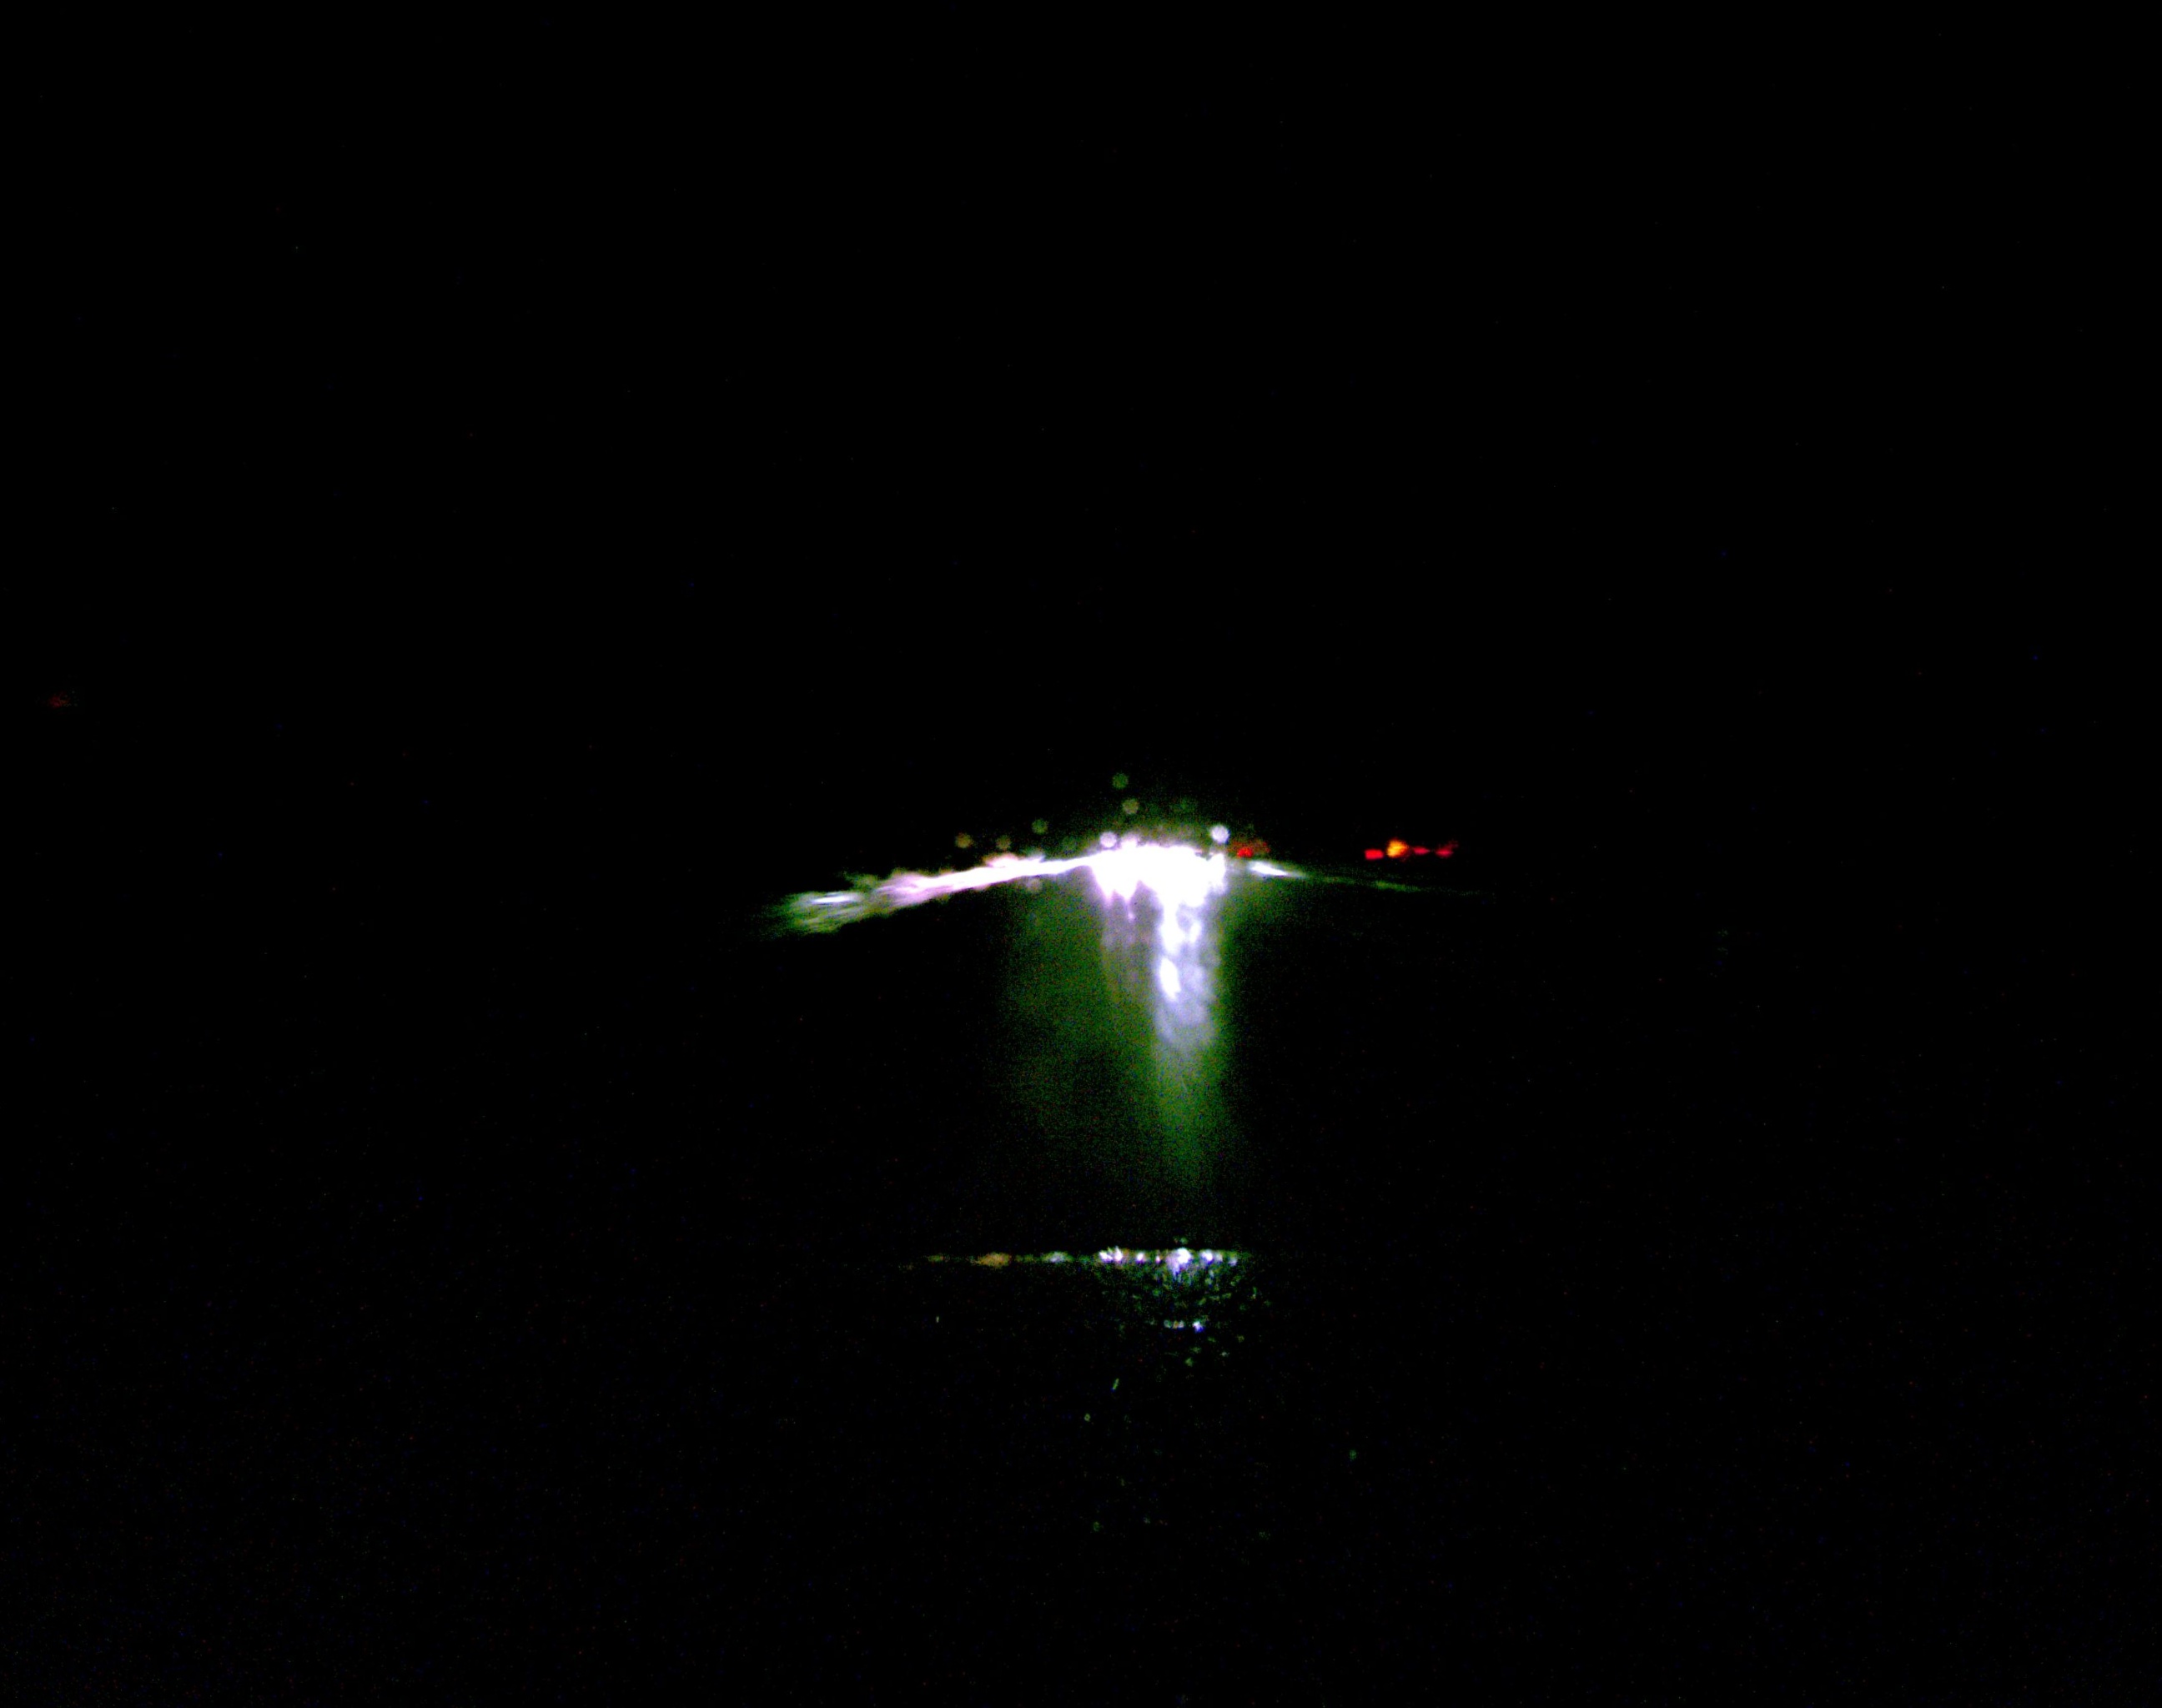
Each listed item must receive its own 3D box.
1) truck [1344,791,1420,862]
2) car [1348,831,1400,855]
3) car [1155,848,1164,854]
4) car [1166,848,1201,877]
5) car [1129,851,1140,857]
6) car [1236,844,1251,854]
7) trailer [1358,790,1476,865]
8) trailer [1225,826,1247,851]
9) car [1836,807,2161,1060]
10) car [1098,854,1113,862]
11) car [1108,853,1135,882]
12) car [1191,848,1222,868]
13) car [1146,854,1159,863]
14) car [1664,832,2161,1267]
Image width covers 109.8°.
[{"bbox_3d":[28.037,-2.471,71.253,4.177,6.092,7.345,-3,1,3],"label":"truck"},{"bbox_3d":[20.308,-0.720,52.907,1.711,1.472,5.017,-4,0,2],"label":"car"},{"bbox_3d":[17.011,-0.601,165.189,1.692,1.149,3.422,-5,0,8],"label":"car"},{"bbox_3d":[6.481,0.519,48.507,1.998,1.667,4.001,-3,0,5],"label":"car"},{"bbox_3d":[11.474,-0.082,163.214,1.997,1.149,4.002,-3,0,8],"label":"car"},{"bbox_3d":[30.419,-0.922,142.151,1.998,1.633,4.254,-3,0,2],"label":"car"},{"bbox_3d":[27.778,-2.041,64.051,4.177,5.413,13.748,-3,0,2],"label":"trailer"},{"bbox_3d":[41.502,-4.058,203.682,3.470,6.092,14.411,-7,0,5],"label":"trailer"},{"bbox_3d":[8.590,0.526,5.193,1.998,1.767,4.887,-3,0,1],"label":"car"},{"bbox_3d":[3.882,0.573,118.021,1.998,1.149,4.001,-3,0,6],"label":"car"},{"bbox_3d":[3.162,1.021,59.301,1.998,2.002,4.000,-3,0,3],"label":"car"},{"bbox_3d":[10.932,0.323,66.652,2.309,1.600,3.872,-3,0,5],"label":"car"},{"bbox_3d":[10.298,0.627,108.992,1.692,1.149,3.421,-3,0,6],"label":"car"},{"bbox_3d":[4.948,0.708,3.076,1.920,1.585,4.233,-2,0,0],"label":"car"}]
